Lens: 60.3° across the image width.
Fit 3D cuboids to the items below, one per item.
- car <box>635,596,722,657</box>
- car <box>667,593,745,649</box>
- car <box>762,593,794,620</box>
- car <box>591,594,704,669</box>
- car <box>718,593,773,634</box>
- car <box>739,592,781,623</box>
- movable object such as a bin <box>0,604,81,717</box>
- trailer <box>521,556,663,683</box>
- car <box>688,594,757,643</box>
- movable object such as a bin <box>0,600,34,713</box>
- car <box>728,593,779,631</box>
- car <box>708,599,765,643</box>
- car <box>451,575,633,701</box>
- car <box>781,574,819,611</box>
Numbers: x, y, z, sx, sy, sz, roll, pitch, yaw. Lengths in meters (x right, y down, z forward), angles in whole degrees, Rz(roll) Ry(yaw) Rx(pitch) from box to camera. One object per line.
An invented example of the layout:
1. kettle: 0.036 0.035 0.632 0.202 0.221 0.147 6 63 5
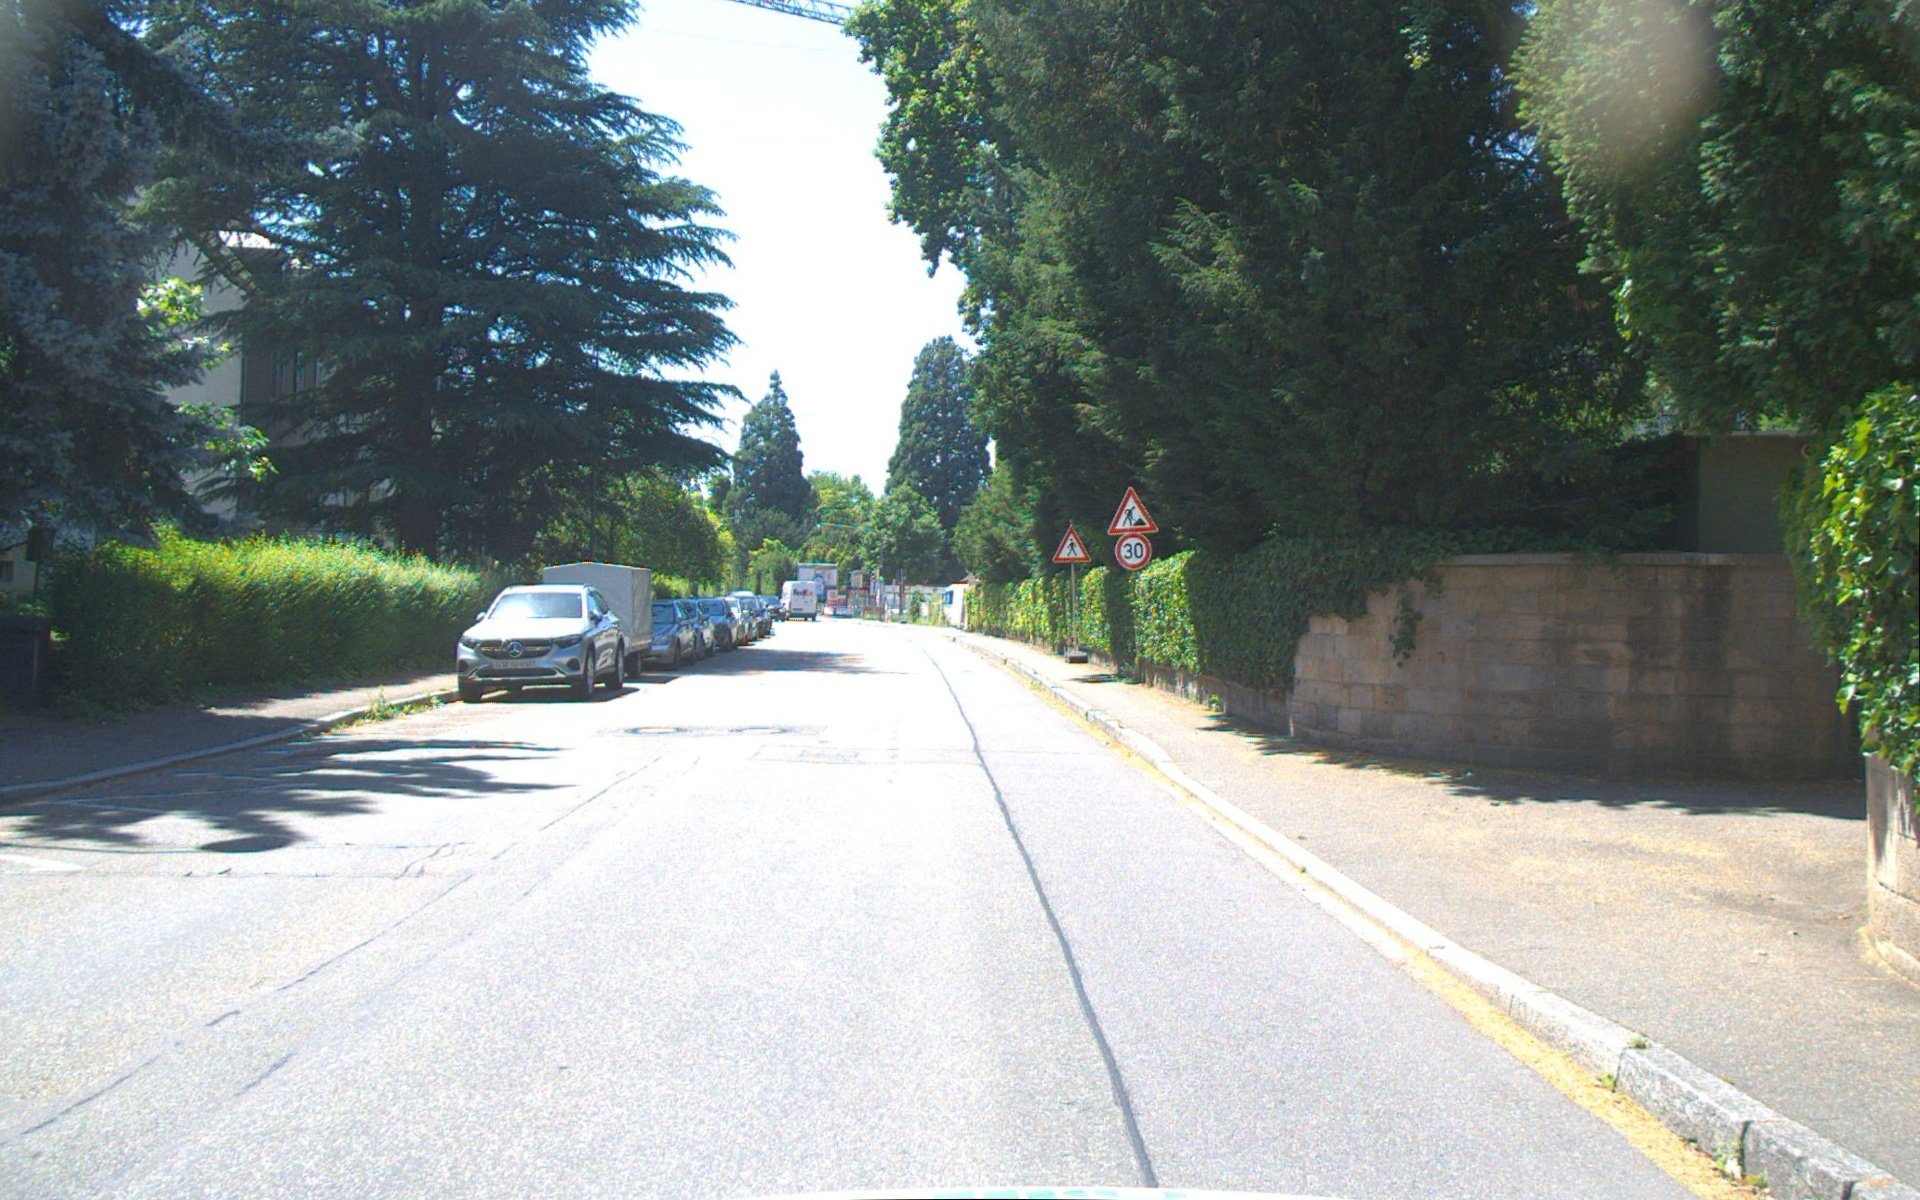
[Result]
1. car: -6.827 0.623 40.444 1.550 1.414 3.882 0 0 -2
2. car: -7.122 0.560 46.710 1.654 1.470 4.134 0 0 -2
3. car: -11.132 0.397 101.277 1.816 1.612 4.131 0 0 -5
4. car: -6.597 0.634 35.354 1.675 1.464 4.321 -1 0 -2
5. car: -8.045 0.487 62.344 1.654 1.470 4.134 0 0 -2
6. car: -9.784 0.361 81.036 1.654 1.470 4.134 0 0 -2
7. movable object such as a bin: -9.375 0.608 16.836 0.476 1.084 0.616 4 1 -4
8. trailer: -6.519 0.317 29.744 1.811 2.076 4.160 -1 0 -3
9. car: -7.416 0.557 51.934 1.654 1.470 4.134 0 0 -2
10. movable object such as a bin: -9.844 0.561 16.780 0.476 1.101 0.641 4 1 -4
11. car: -8.422 0.474 67.722 1.654 1.470 4.134 0 0 -2
12. car: -7.748 0.706 57.588 1.656 1.474 3.997 1 0 -4
13. car: -6.265 0.519 25.319 1.814 1.700 4.709 -1 0 -3
14. car: -10.665 -0.518 109.868 2.105 2.356 4.840 -1 0 -11
